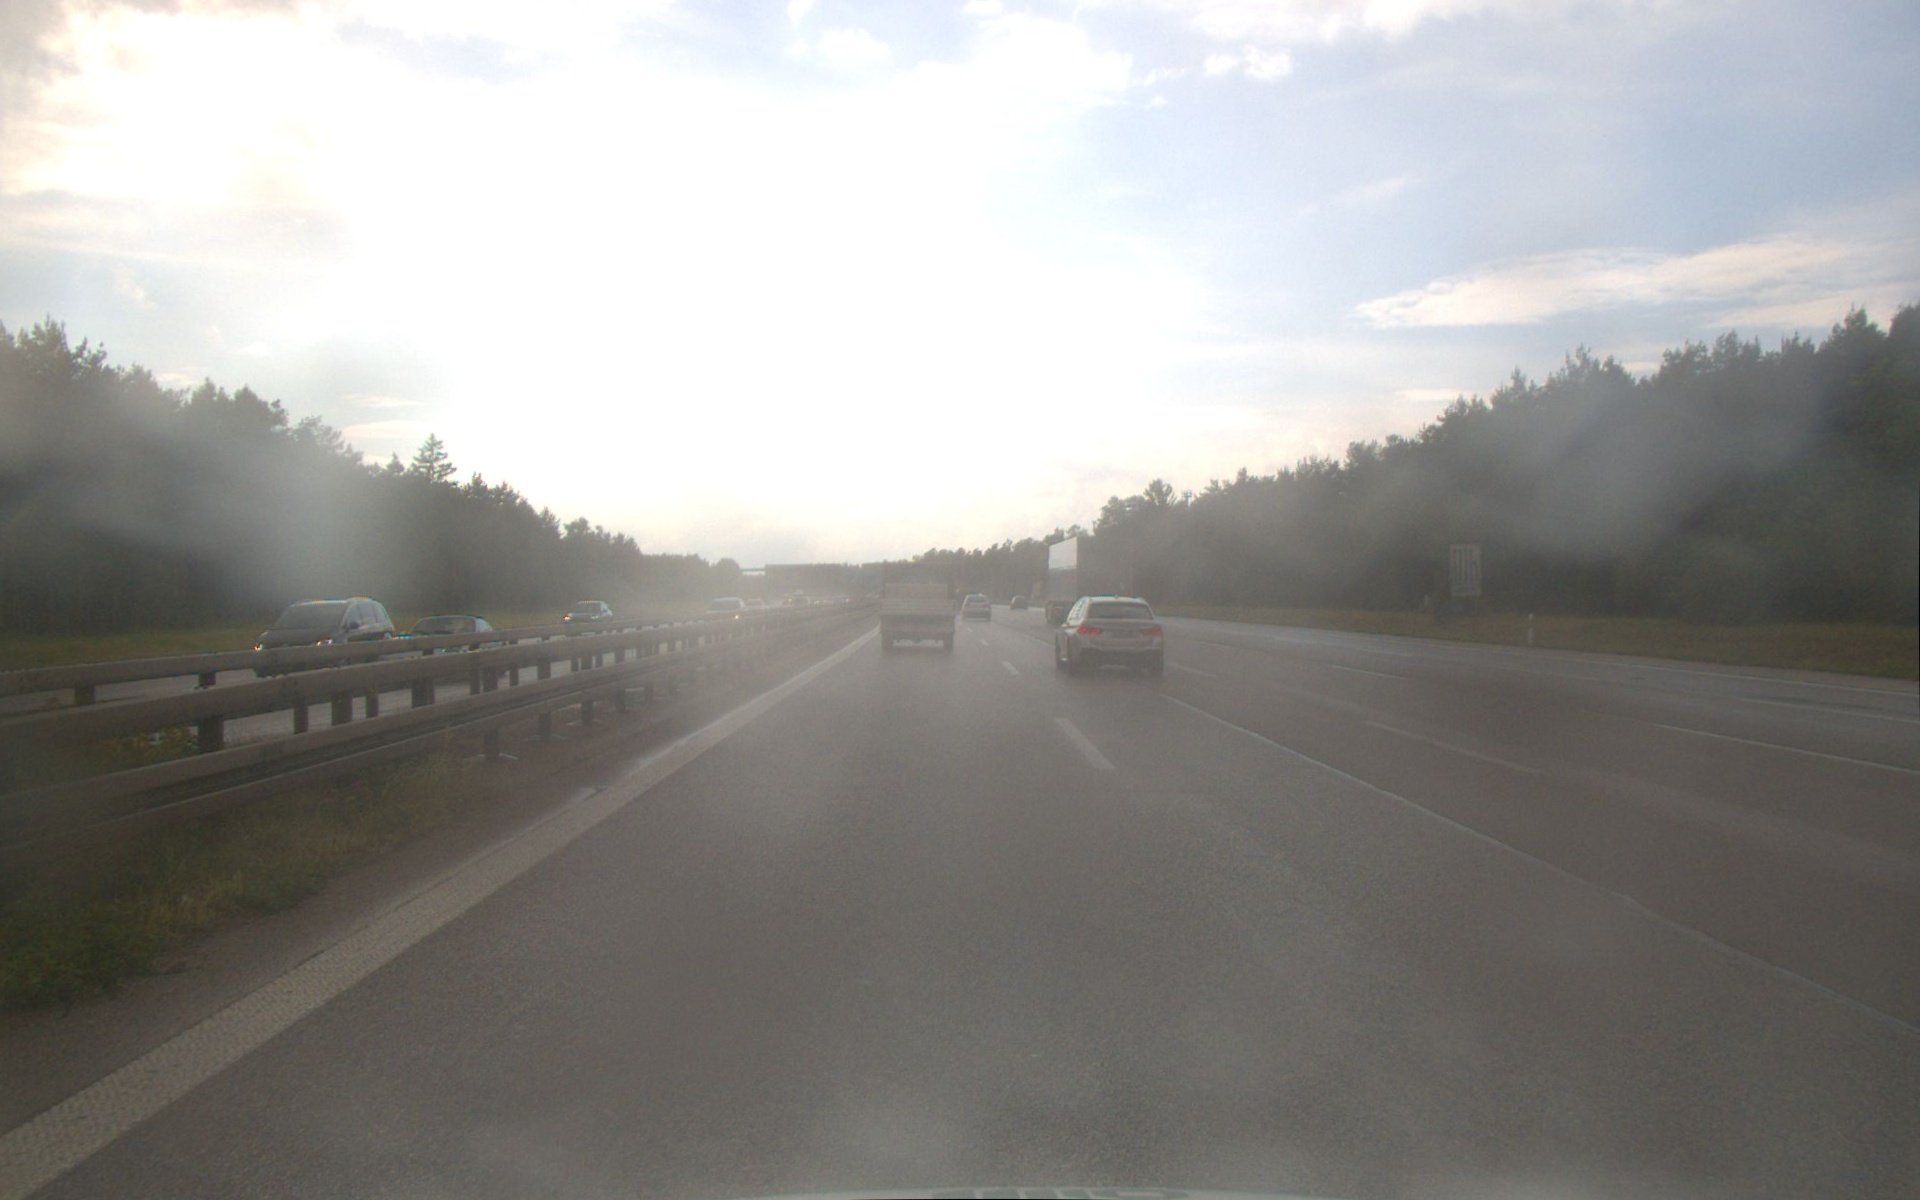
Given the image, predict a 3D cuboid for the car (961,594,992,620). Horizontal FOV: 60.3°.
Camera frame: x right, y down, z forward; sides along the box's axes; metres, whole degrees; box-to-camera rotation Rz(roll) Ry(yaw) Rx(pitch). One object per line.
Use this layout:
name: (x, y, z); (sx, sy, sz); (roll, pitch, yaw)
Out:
car: (0.970, 0.400, 98.726); (1.793, 1.492, 4.000); (0, 0, 0)

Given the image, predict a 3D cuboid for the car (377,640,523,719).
car: (-10.002, 1.518, 32.725); (1.660, 1.282, 4.061); (-2, 1, -1)

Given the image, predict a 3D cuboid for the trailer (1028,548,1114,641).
trailer: (5.131, -0.248, 79.028); (2.278, 4.071, 13.400); (0, 0, -4)

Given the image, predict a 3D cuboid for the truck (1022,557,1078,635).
truck: (4.651, -0.203, 86.047); (2.248, 3.935, 5.387); (0, 0, -4)

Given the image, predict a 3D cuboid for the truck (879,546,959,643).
truck: (-1.142, -0.149, 45.890); (2.094, 2.532, 5.311); (0, 0, -2)

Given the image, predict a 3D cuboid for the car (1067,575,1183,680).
car: (3.209, 0.499, 33.005); (2.034, 1.918, 5.013); (0, 0, 3)

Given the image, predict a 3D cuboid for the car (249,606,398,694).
car: (-14.006, 1.046, 36.655); (1.689, 1.713, 4.136); (-3, 0, -1)

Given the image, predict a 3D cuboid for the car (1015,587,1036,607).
car: (7.059, -0.292, 178.735); (1.953, 2.049, 3.999); (1, 0, -1)

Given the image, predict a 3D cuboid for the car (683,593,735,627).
car: (-10.555, 0.393, 69.662); (1.658, 1.400, 3.999); (0, 0, -1)

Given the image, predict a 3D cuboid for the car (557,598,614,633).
car: (-18.675, 0.761, 82.695); (1.862, 1.574, 4.511); (-3, 0, -1)
